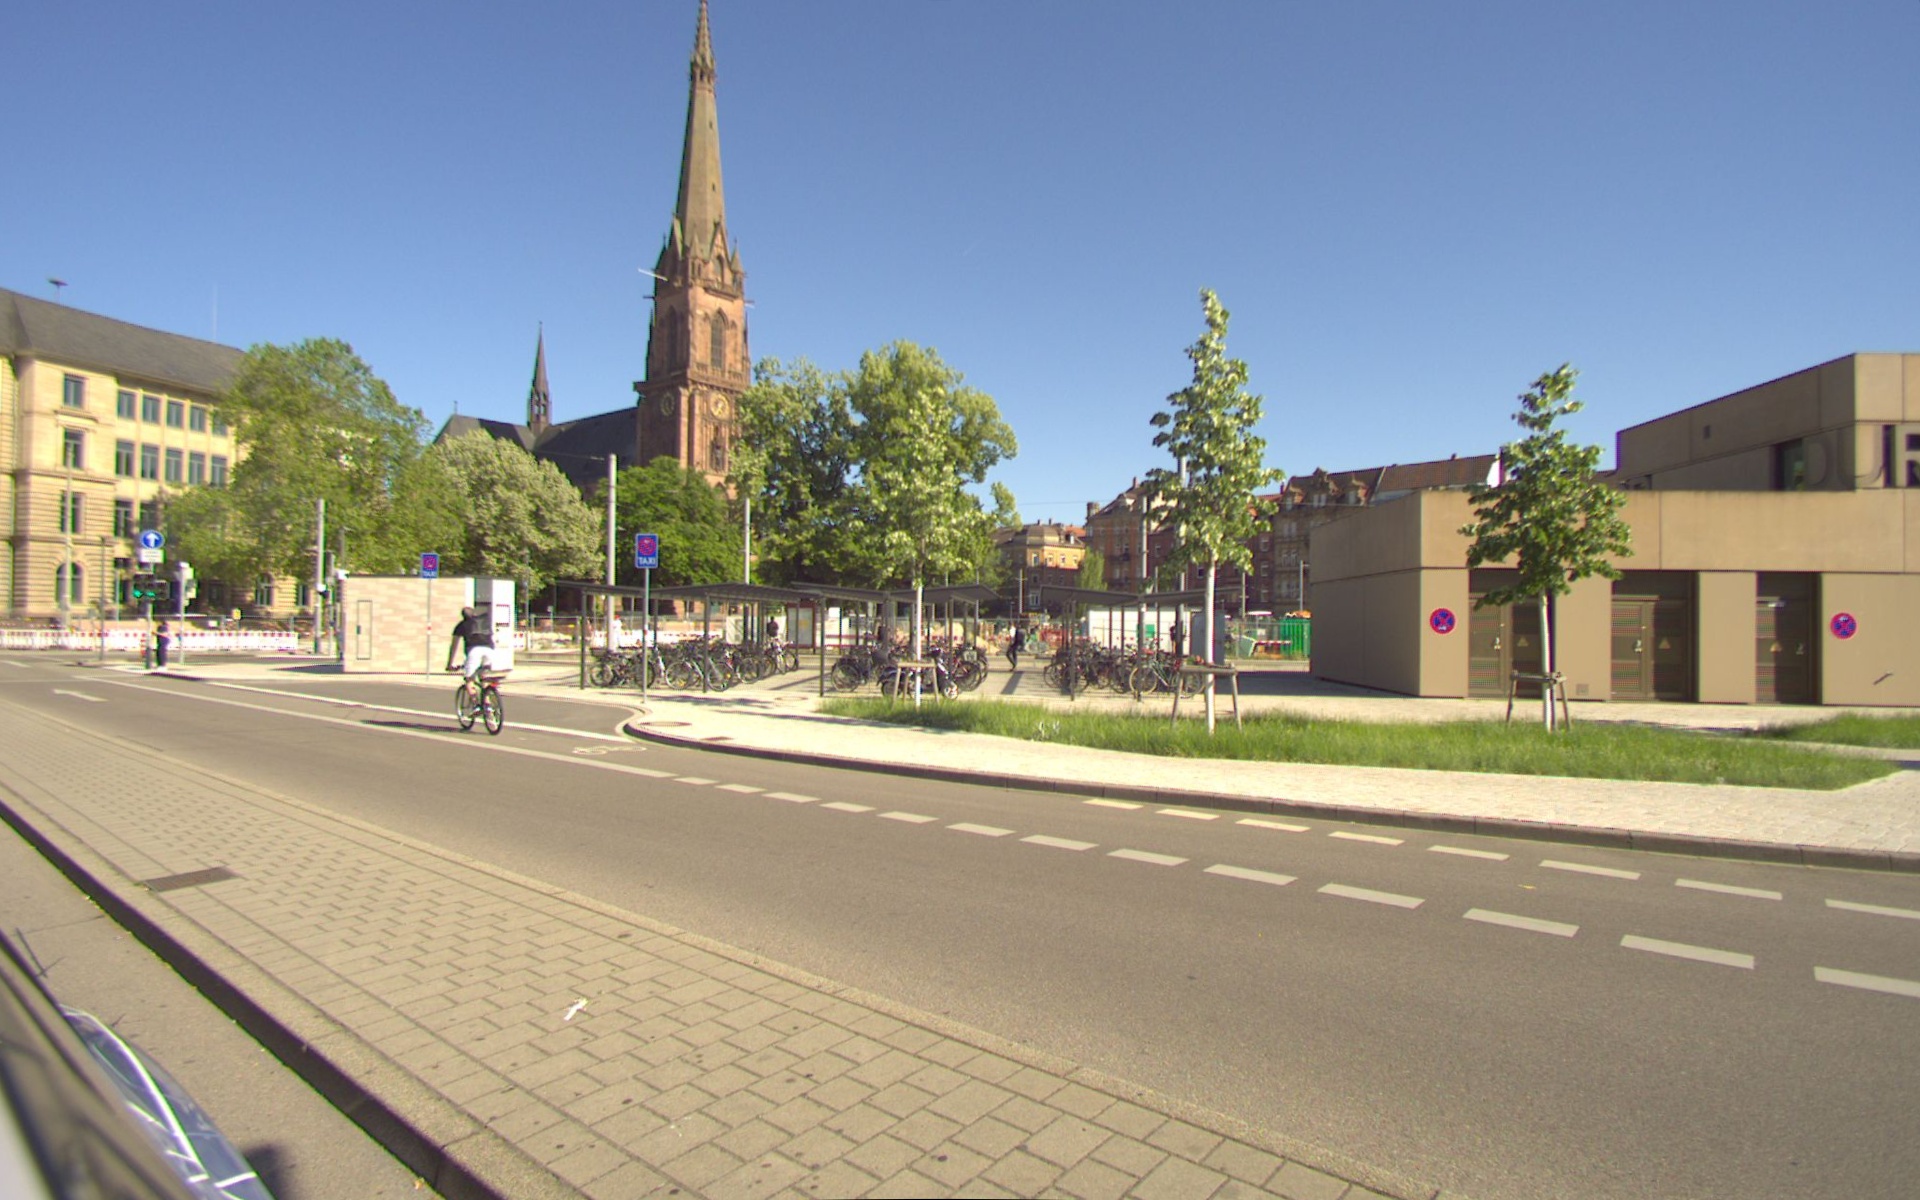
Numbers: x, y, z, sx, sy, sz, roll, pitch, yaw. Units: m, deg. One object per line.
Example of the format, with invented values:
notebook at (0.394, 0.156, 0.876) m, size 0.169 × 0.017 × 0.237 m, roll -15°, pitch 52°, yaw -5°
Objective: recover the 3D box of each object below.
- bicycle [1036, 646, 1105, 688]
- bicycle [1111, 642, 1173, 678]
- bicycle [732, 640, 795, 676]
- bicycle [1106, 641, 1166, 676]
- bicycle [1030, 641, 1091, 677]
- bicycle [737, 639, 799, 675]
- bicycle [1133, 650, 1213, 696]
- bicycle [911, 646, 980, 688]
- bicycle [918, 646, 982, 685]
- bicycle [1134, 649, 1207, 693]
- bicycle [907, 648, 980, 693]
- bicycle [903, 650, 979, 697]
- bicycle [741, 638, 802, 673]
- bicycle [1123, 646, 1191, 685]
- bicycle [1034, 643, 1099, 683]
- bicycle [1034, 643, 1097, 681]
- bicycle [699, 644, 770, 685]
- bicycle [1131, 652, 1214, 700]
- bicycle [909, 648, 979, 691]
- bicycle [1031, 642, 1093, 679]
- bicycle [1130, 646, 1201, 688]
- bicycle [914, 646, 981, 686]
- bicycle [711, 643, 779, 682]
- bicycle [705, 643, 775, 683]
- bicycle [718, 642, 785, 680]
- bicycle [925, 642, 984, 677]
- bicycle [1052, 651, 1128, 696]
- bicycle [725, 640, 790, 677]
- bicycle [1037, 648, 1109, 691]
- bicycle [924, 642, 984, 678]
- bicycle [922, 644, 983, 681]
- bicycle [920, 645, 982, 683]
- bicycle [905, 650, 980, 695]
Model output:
bicycle at (2.939, 1.777, 26.930) m, size 1.764 × 1.046 × 0.567 m, roll 1°, pitch -3°, yaw 3°
bicycle at (5.472, 1.800, 30.431) m, size 1.764 × 1.046 × 0.567 m, roll 1°, pitch -3°, yaw 3°
bicycle at (-5.902, 1.748, 30.491) m, size 1.764 × 1.046 × 0.567 m, roll 1°, pitch -3°, yaw 3°
bicycle at (5.404, 1.797, 31.145) m, size 1.764 × 1.046 × 0.567 m, roll 1°, pitch -3°, yaw 3°
bicycle at (3.028, 1.777, 30.614) m, size 1.764 × 1.046 × 0.567 m, roll 1°, pitch -3°, yaw 3°
bicycle at (-5.889, 1.746, 31.119) m, size 1.764 × 1.046 × 0.567 m, roll 1°, pitch -3°, yaw 3°
bicycle at (5.088, 1.744, 24.229) m, size 1.764 × 1.046 × 0.567 m, roll 1°, pitch -3°, yaw 3°
bicycle at (-0.380, 1.756, 26.524) m, size 1.764 × 1.046 × 0.567 m, roll 1°, pitch -3°, yaw 3°
bicycle at (-0.268, 1.839, 28.641) m, size 1.764 × 1.046 × 0.567 m, roll 1°, pitch -3°, yaw 3°
bicycle at (5.273, 1.764, 25.399) m, size 1.768 × 1.046 × 0.566 m, roll 1°, pitch -3°, yaw 11°
bicycle at (-0.396, 1.740, 25.143) m, size 1.764 × 1.046 × 0.567 m, roll 1°, pitch -3°, yaw 3°
bicycle at (-0.441, 1.733, 23.875) m, size 1.764 × 1.046 × 0.567 m, roll 1°, pitch -3°, yaw 3°
bicycle at (-5.908, 1.732, 31.751) m, size 1.764 × 1.046 × 0.567 m, roll 1°, pitch -3°, yaw 3°
bicycle at (5.473, 1.814, 28.144) m, size 1.764 × 1.046 × 0.567 m, roll 1°, pitch -3°, yaw 3°
bicycle at (2.995, 1.767, 28.481) m, size 1.764 × 1.046 × 0.567 m, roll 1°, pitch -3°, yaw 3°
bicycle at (3.043, 1.777, 29.199) m, size 1.764 × 1.046 × 0.567 m, roll 1°, pitch -3°, yaw 3°
bicycle at (-6.085, 1.728, 27.319) m, size 1.764 × 1.046 × 0.567 m, roll 1°, pitch -3°, yaw 3°
bicycle at (4.879, 1.744, 23.290) m, size 1.764 × 1.046 × 0.567 m, roll 1°, pitch -3°, yaw 3°
bicycle at (-0.400, 1.766, 25.887) m, size 1.764 × 1.046 × 0.567 m, roll 1°, pitch -3°, yaw 3°
bicycle at (3.007, 1.787, 29.992) m, size 1.764 × 1.046 × 0.567 m, roll 1°, pitch -3°, yaw 3°
bicycle at (5.450, 1.774, 26.859) m, size 1.764 × 1.046 × 0.567 m, roll 1°, pitch -3°, yaw 3°
bicycle at (-0.333, 1.769, 27.213) m, size 1.764 × 1.046 × 0.567 m, roll 1°, pitch -3°, yaw 3°
bicycle at (-6.048, 1.752, 28.560) m, size 1.764 × 1.046 × 0.567 m, roll 1°, pitch -3°, yaw 3°
bicycle at (-6.065, 1.735, 27.921) m, size 1.764 × 1.046 × 0.567 m, roll 1°, pitch -3°, yaw 3°
bicycle at (-5.997, 1.748, 29.161) m, size 1.764 × 1.046 × 0.567 m, roll 1°, pitch -3°, yaw 3°
bicycle at (-0.159, 1.830, 31.282) m, size 1.764 × 1.046 × 0.567 m, roll 1°, pitch -3°, yaw 3°
bicycle at (3.147, 1.777, 24.644) m, size 1.764 × 1.046 × 0.567 m, roll 1°, pitch -3°, yaw 3°
bicycle at (-5.954, 1.721, 29.825) m, size 1.764 × 1.046 × 0.567 m, roll 1°, pitch -3°, yaw 3°
bicycle at (2.882, 1.784, 25.932) m, size 1.764 × 1.046 × 0.567 m, roll 1°, pitch -3°, yaw 3°
bicycle at (-0.177, 1.814, 30.644) m, size 1.764 × 1.046 × 0.567 m, roll 1°, pitch -3°, yaw 3°
bicycle at (-0.209, 1.838, 30.009) m, size 1.764 × 1.046 × 0.567 m, roll 1°, pitch -3°, yaw 3°
bicycle at (-0.247, 1.854, 29.405) m, size 1.764 × 1.046 × 0.567 m, roll 1°, pitch -3°, yaw 3°
bicycle at (-0.410, 1.750, 24.539) m, size 1.764 × 1.046 × 0.567 m, roll 1°, pitch -3°, yaw 3°
